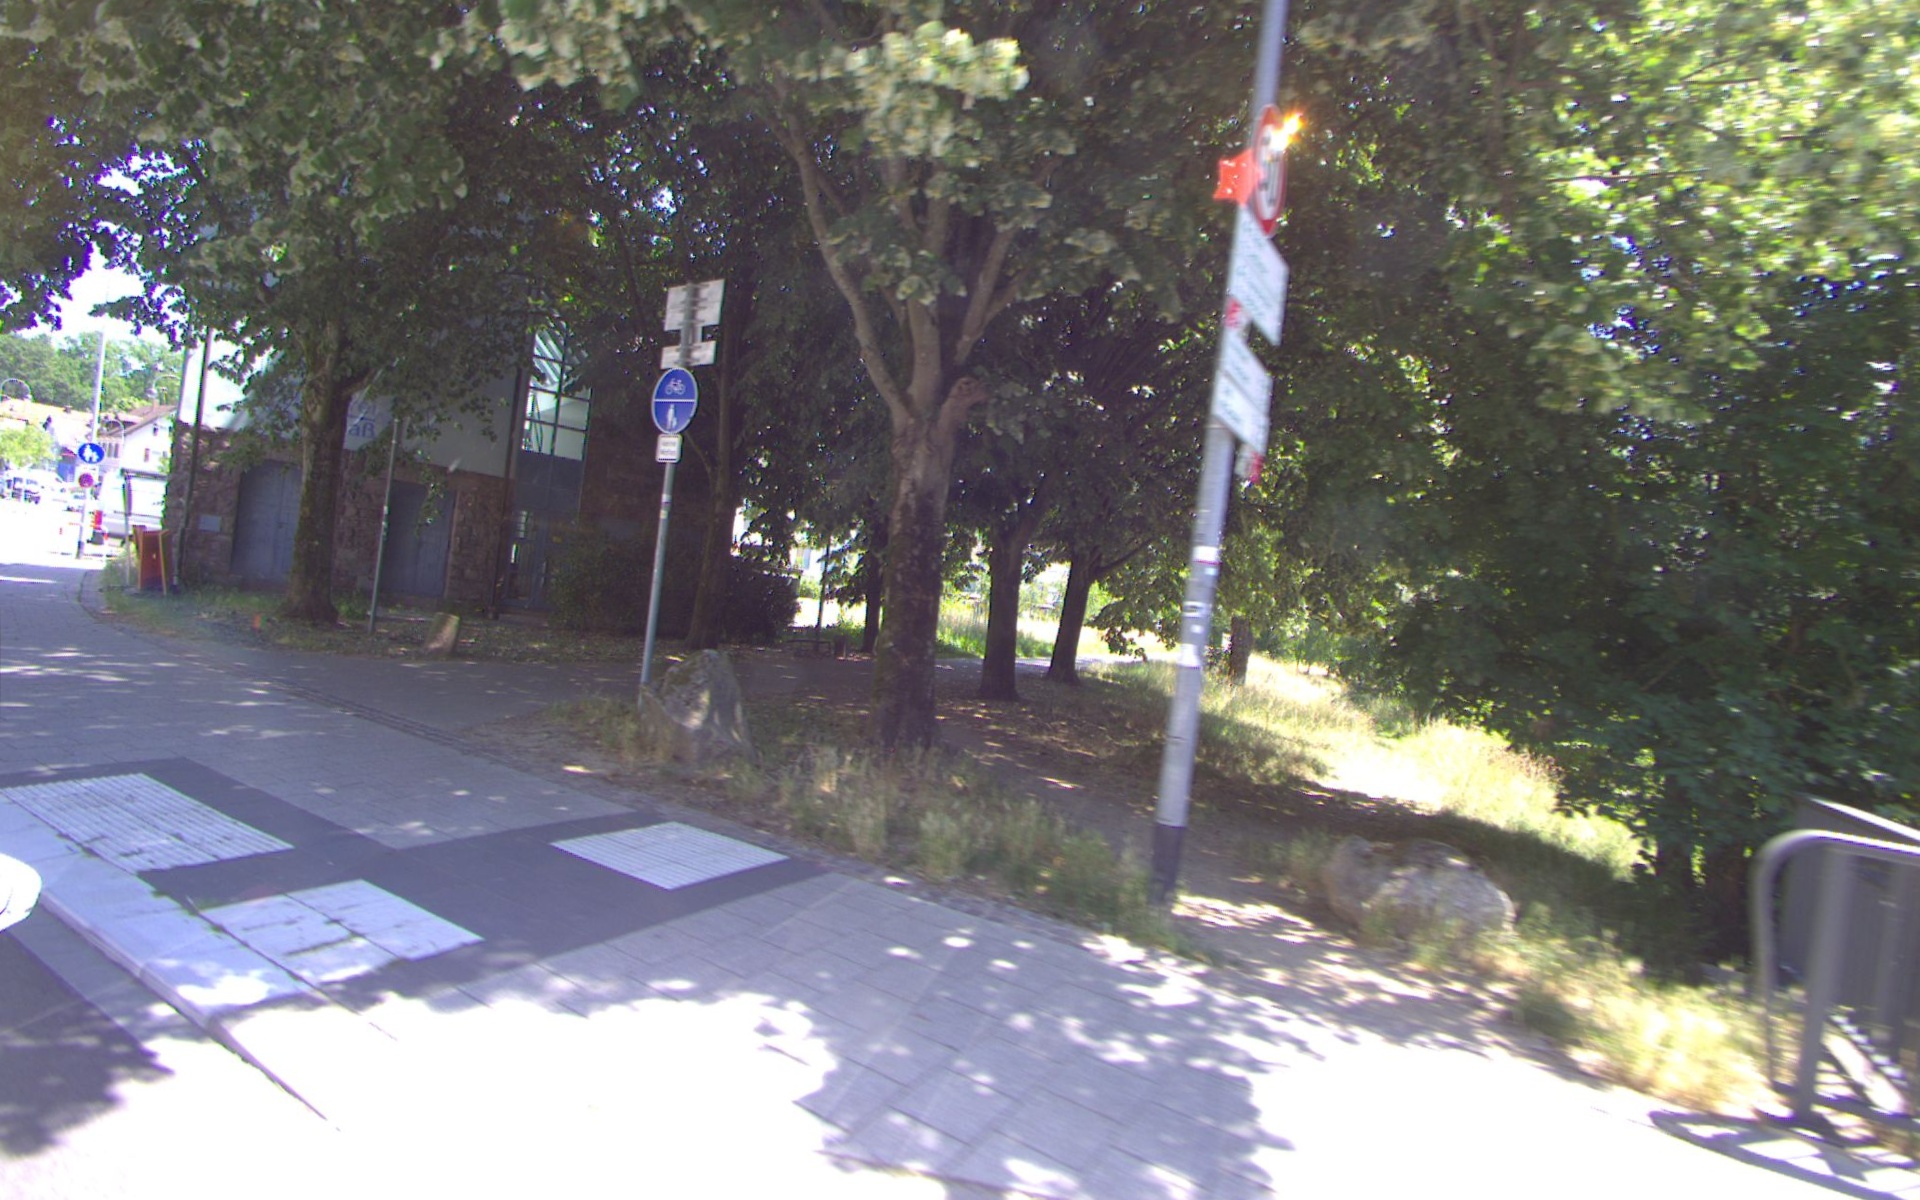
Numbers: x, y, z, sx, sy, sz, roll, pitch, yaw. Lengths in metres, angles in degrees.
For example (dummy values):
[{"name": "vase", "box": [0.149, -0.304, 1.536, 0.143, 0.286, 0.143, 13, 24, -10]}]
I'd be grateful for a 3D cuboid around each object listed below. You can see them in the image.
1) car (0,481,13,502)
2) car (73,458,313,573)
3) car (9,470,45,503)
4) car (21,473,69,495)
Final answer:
[{"name": "car", "box": [-87.308, -9.945, 90.983, 3.945, 1.760, 1.990, 7, 0, 42]}, {"name": "car", "box": [-24.897, -2.659, 33.021, 5.905, 2.766, 2.175, 7, 0, -35]}, {"name": "car", "box": [-79.656, -9.669, 85.872, 4.755, 2.430, 1.862, 7, 1, 45]}, {"name": "car", "box": [-122.603, -15.505, 134.858, 1.962, 2.037, 4.277, 6, -2, 12]}]
